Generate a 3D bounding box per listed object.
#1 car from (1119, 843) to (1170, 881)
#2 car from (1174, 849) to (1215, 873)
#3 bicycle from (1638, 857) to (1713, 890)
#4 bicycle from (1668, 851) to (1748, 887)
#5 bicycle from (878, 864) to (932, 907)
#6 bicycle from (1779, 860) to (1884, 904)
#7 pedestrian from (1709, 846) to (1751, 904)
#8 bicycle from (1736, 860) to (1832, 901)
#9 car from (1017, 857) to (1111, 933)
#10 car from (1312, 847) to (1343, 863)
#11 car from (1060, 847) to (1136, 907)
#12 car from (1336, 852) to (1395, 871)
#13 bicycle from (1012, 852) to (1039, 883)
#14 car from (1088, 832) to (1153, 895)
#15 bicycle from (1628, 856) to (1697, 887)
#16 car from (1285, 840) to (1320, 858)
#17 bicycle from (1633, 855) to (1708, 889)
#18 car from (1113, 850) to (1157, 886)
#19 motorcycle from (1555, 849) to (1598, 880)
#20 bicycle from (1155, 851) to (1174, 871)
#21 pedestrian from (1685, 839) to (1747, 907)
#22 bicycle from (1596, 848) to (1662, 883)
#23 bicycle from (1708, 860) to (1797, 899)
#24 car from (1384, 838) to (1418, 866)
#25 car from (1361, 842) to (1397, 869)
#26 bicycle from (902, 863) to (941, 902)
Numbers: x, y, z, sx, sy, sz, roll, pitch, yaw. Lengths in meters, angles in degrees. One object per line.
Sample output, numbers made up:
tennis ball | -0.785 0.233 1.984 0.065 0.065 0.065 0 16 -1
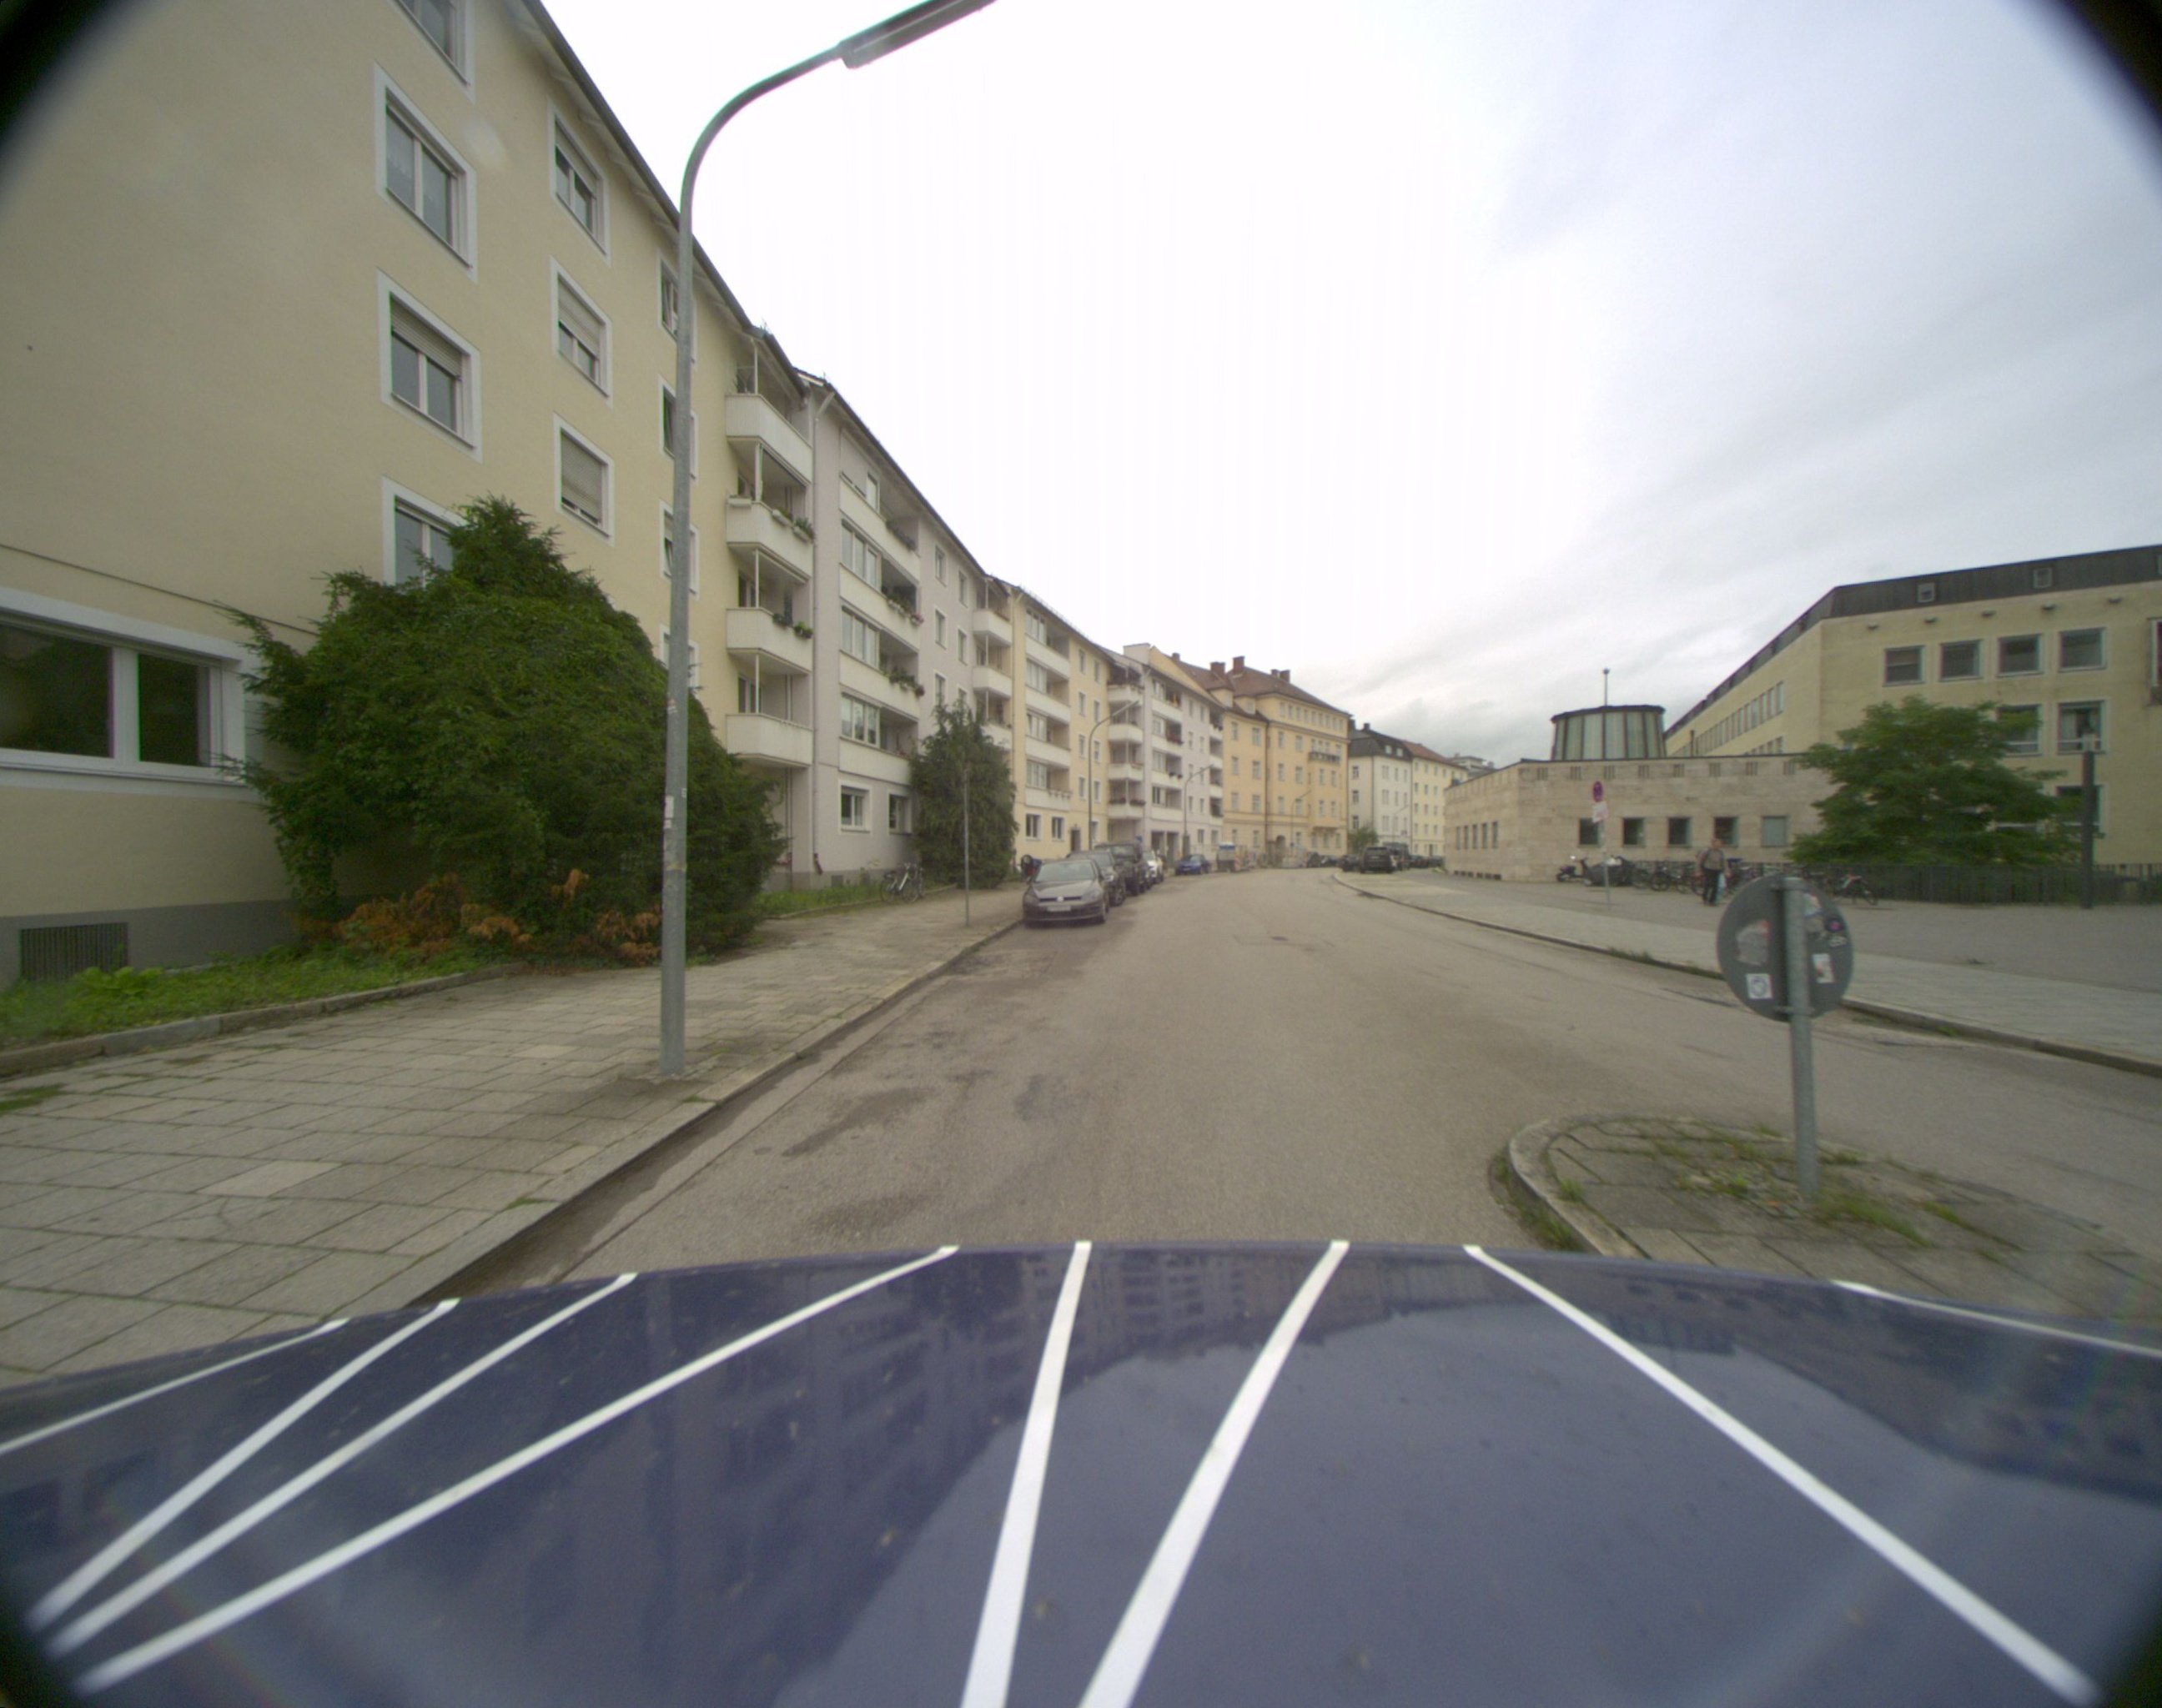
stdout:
car | 3.216 0.378 37.519 2.030 1.668 4.616 -2 0 10
car | 7.840 0.463 52.162 1.833 1.433 4.635 -4 -1 19
bicycle | 21.689 0.712 27.750 2.048 1.104 0.617 -2 0 13
bicycle | 20.619 0.489 25.021 2.050 1.104 0.617 -2 0 3
bicycle | -4.939 0.853 21.463 0.467 1.111 1.947 1 1 21
bicycle | 20.063 0.752 20.342 2.049 1.104 0.617 -2 0 7
pedestrian | 18.495 0.594 21.660 0.645 1.592 0.605 -2 0 -15
bicycle | 20.193 0.767 21.858 2.049 1.104 0.617 -2 0 7
car | -0.274 0.857 17.571 1.758 1.388 4.045 -2 1 4
car | 27.506 0.088 84.805 1.837 1.720 3.738 -2 0 44
car | 0.628 0.623 22.913 1.661 1.556 4.517 -2 1 9
car | 22.532 0.585 60.174 4.007 1.366 1.747 1 2 -9
bicycle | -2.613 0.611 36.267 0.744 1.360 2.472 3 1 7
car | 1.521 0.331 27.775 1.750 2.069 4.519 -2 0 10
bicycle | 22.289 0.679 29.144 2.049 1.104 0.617 -2 0 9
car | 23.828 -0.526 81.673 1.837 1.788 4.247 -2 0 43
bicycle | 20.446 0.631 26.385 2.050 1.104 0.617 -2 0 3
car | 2.382 0.549 32.669 1.662 1.341 3.805 -2 1 7
motorcycle | 23.032 0.475 35.348 1.566 1.397 0.515 -2 0 11
bicycle | 6.044 0.495 54.659 0.810 1.315 2.778 2 2 17
pedestrian | 16.988 0.485 20.344 0.788 1.772 1.014 -2 2 -1
bicycle | 22.282 0.459 30.903 2.101 1.344 0.614 -2 0 9
bicycle | 20.670 0.777 23.399 2.049 1.104 0.617 -2 0 7
car | 31.022 -0.219 73.476 2.144 2.559 6.223 2 2 31
car | 20.127 0.095 51.423 1.996 1.761 4.821 0 0 18
bicycle | -4.912 0.862 23.475 0.468 1.111 1.945 1 1 10
